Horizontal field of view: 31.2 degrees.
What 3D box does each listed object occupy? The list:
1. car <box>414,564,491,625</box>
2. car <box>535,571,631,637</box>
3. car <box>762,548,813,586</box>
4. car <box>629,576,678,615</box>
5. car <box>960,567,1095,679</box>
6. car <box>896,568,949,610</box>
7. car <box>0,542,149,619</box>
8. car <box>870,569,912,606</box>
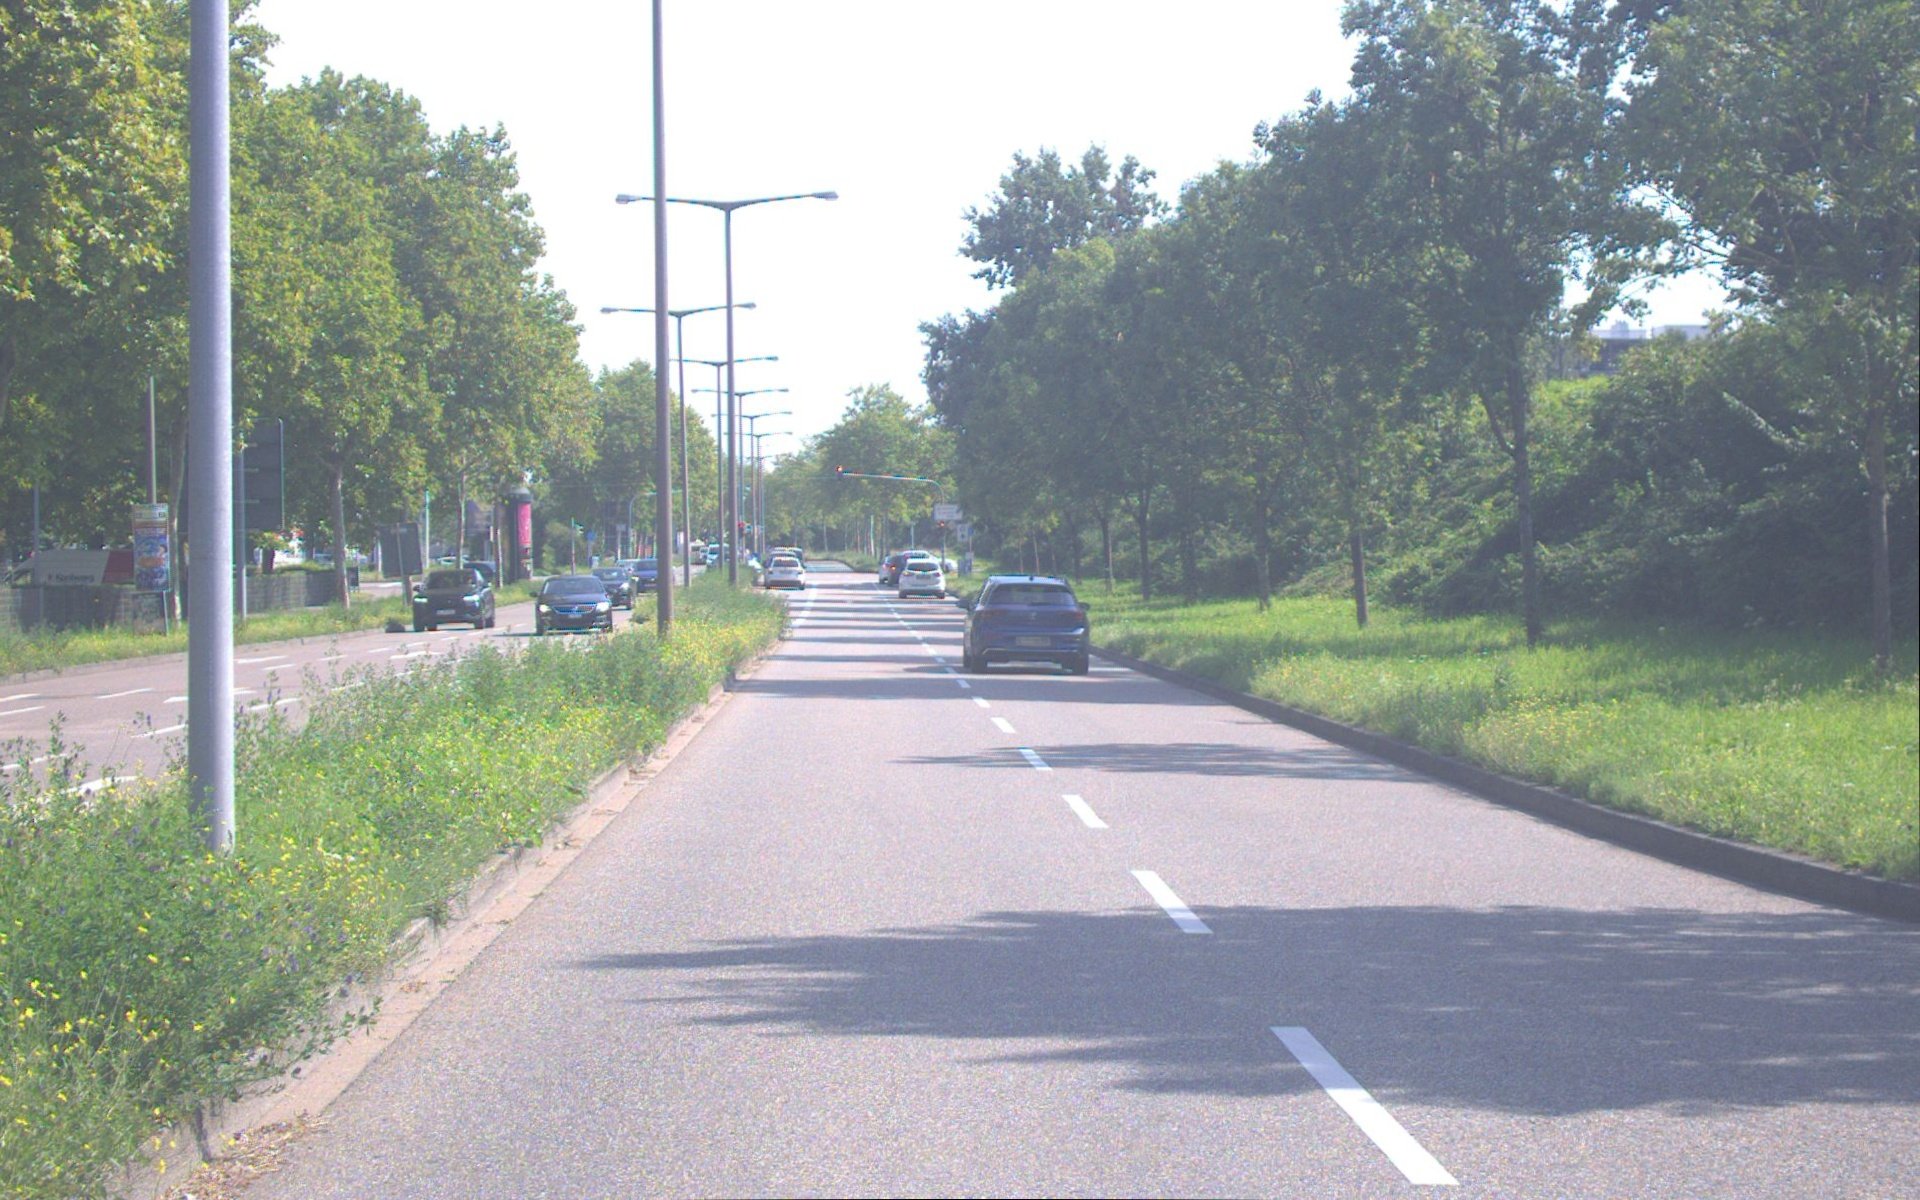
[{"bbox_3d":[-13.850,-0.128,94.022,1.845,1.600,4.611,0,-1,-5],"label":"car"},{"bbox_3d":[-9.018,0.090,82.490,1.845,1.485,4.644,-2,0,-1],"label":"car"},{"bbox_3d":[-7.843,-1.492,156.661,1.993,1.696,4.000,-1,0,2],"label":"car"},{"bbox_3d":[-12.984,-0.196,145.770,1.993,1.579,4.347,0,0,-4],"label":"car"},{"bbox_3d":[0.975,0.310,51.659,1.780,1.423,4.001,1,3,-2],"label":"car"},{"bbox_3d":[-1.538,-0.454,139.865,1.993,1.648,4.000,-1,0,-2],"label":"car"},{"bbox_3d":[-29.492,-0.659,112.122,5.583,2.329,2.279,1,3,-3],"label":"car"},{"bbox_3d":[-3.605,-0.672,178.418,1.993,1.648,4.001,1,4,-3],"label":"car"}]
